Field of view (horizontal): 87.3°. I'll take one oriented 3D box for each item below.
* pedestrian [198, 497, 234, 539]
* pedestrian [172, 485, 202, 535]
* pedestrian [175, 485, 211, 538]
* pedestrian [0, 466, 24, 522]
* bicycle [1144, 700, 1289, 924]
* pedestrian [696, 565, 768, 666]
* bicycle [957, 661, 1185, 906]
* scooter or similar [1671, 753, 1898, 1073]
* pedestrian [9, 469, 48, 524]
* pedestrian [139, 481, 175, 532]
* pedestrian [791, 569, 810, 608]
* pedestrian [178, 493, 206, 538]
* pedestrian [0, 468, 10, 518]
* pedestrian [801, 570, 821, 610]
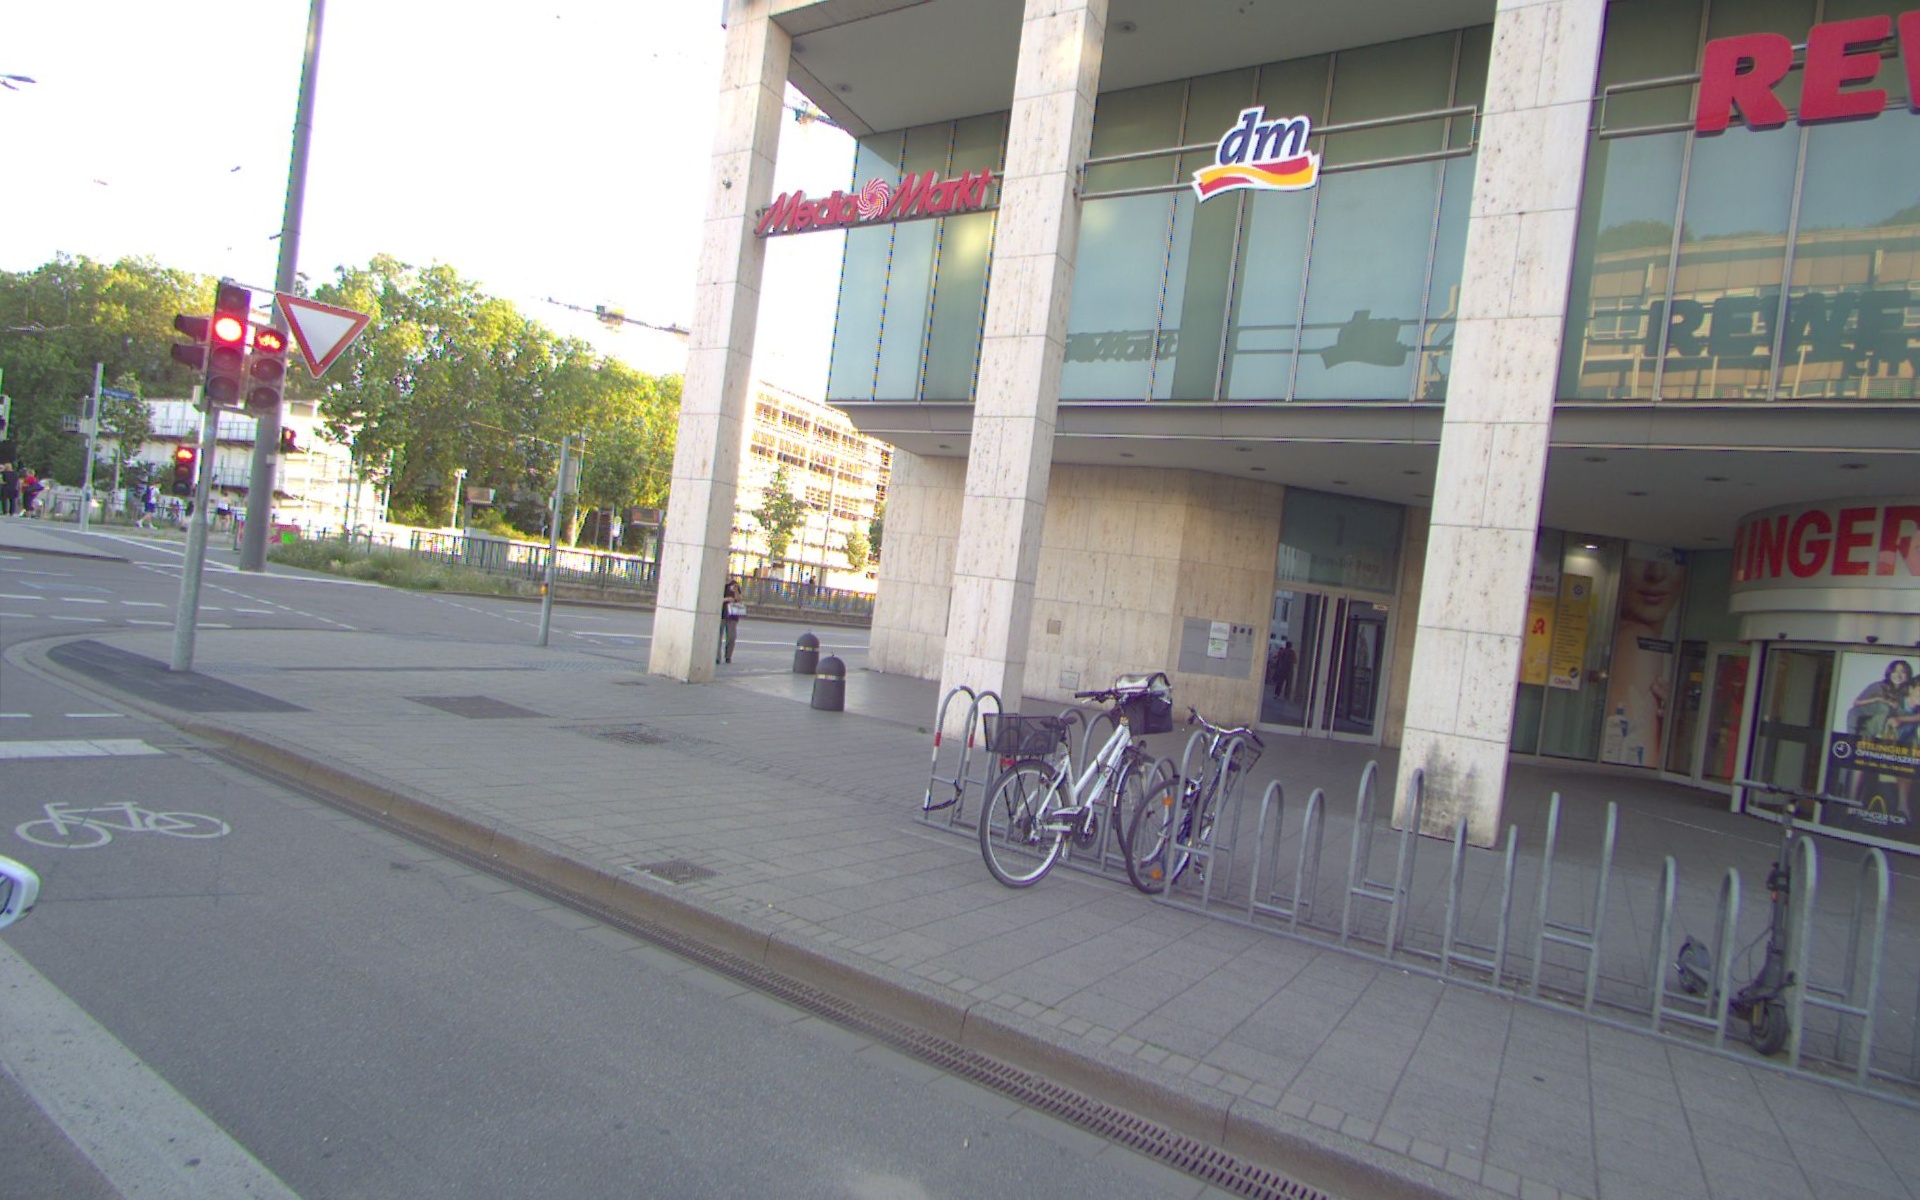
[{"bbox_3d":[-28.262,-3.110,38.204,0.665,1.459,0.714,7,1,12],"label":"pedestrian"},{"bbox_3d":[-28.426,-3.307,36.999,0.708,1.746,0.660,6,1,-41],"label":"pedestrian"},{"bbox_3d":[-27.711,-3.196,36.350,0.700,1.746,0.667,8,1,27],"label":"pedestrian"},{"bbox_3d":[-32.827,-3.667,34.568,0.803,1.814,0.790,7,1,-44],"label":"pedestrian"},{"bbox_3d":[1.676,1.245,6.376,0.474,1.092,1.773,8,0,24],"label":"bicycle"},{"bbox_3d":[-3.998,0.289,17.676,0.696,1.659,0.791,8,1,33],"label":"pedestrian"},{"bbox_3d":[0.702,1.011,5.928,0.540,1.198,1.479,8,1,36],"label":"bicycle"},{"bbox_3d":[3.989,1.443,4.959,0.484,1.214,1.196,8,1,27],"label":"scooter or similar"},{"bbox_3d":[-32.777,-3.639,35.409,0.696,1.756,0.843,8,1,44],"label":"pedestrian"},{"bbox_3d":[-29.384,-3.415,36.810,0.701,1.746,0.667,8,1,31],"label":"pedestrian"},{"bbox_3d":[-8.625,-0.621,54.462,0.559,2.039,0.575,8,1,28],"label":"pedestrian"},{"bbox_3d":[-29.399,-3.243,38.529,0.527,1.612,0.571,8,1,32],"label":"pedestrian"},{"bbox_3d":[-33.980,-3.808,35.460,0.570,1.699,0.631,7,1,-44],"label":"pedestrian"},{"bbox_3d":[-8.028,-0.519,54.215,0.631,2.039,0.626,8,1,28],"label":"pedestrian"}]
